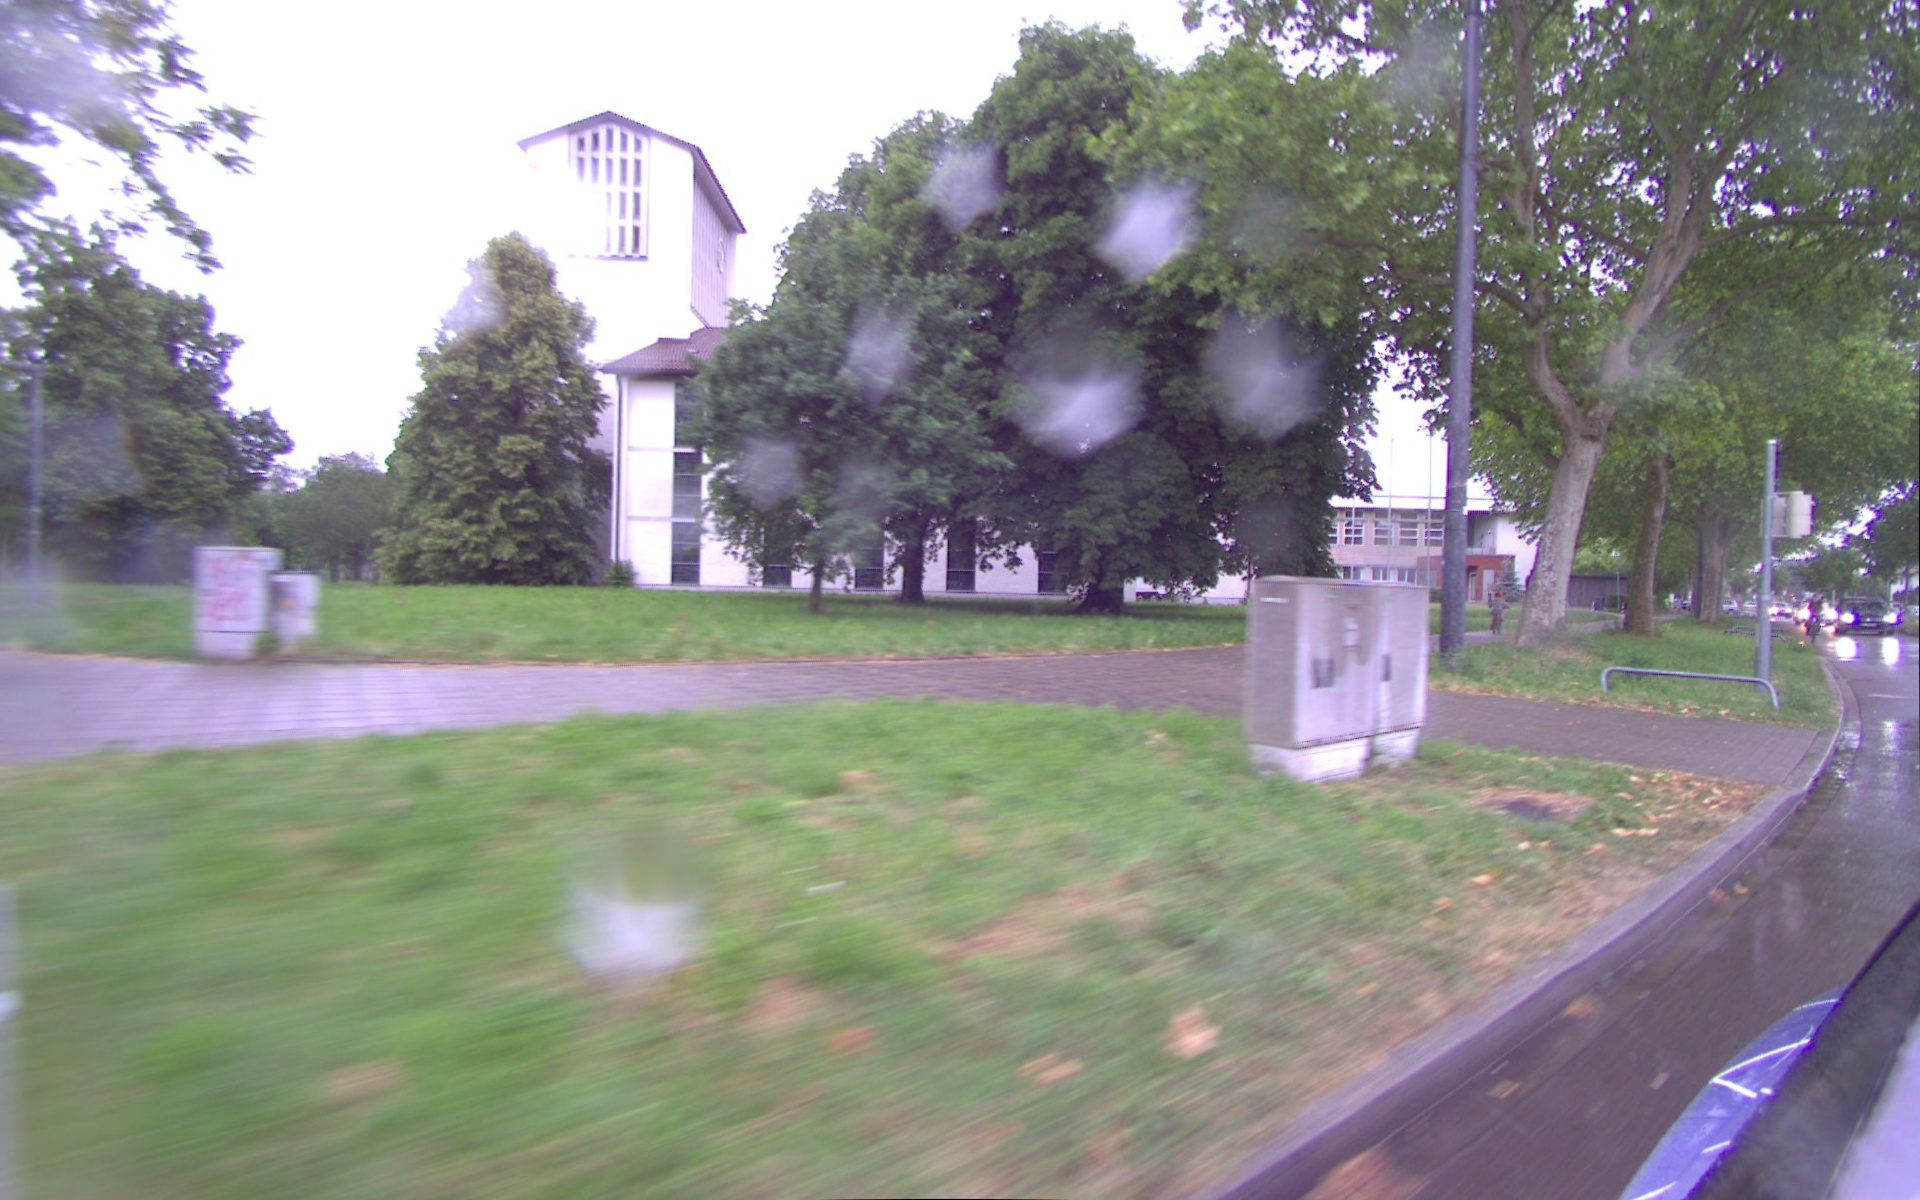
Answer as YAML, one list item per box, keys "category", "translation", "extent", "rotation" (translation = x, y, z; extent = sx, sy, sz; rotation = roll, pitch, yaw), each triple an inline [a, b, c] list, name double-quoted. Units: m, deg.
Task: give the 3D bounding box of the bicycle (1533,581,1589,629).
- category: "bicycle"
  translation: [15.311, 0.128, 25.761]
  extent: [1.939, 1.157, 0.712]
  rotation: [0, 2, -43]

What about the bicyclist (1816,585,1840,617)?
- category: "bicyclist"
  translation: [30.534, 0.037, 35.608]
  extent: [0.620, 1.098, 0.615]
  rotation: [2, 2, 42]

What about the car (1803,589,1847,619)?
- category: "car"
  translation: [52.438, 0.194, 61.376]
  extent: [1.758, 1.747, 3.882]
  rotation: [1, 1, 37]

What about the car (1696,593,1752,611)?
- category: "car"
  translation: [73.635, 0.197, 97.591]
  extent: [3.966, 1.505, 1.629]
  rotation: [2, 1, 19]

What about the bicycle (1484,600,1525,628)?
- category: "bicycle"
  translation: [14.536, 0.368, 27.012]
  extent: [1.432, 0.717, 0.487]
  rotation: [0, 2, -42]

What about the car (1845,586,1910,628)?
- category: "car"
  translation: [39.987, 0.332, 44.188]
  extent: [1.759, 1.747, 3.880]
  rotation: [-1, -1, 38]

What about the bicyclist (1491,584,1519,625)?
- category: "bicyclist"
  translation: [14.534, 0.113, 26.988]
  extent: [0.581, 1.051, 0.487]
  rotation: [0, 1, -42]

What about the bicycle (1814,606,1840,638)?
- category: "bicycle"
  translation: [30.547, 0.764, 35.654]
  extent: [0.657, 1.026, 2.223]
  rotation: [2, 2, 41]

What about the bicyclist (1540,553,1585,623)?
- category: "bicyclist"
  translation: [15.331, -0.320, 25.767]
  extent: [0.941, 1.742, 0.712]
  rotation: [1, 1, -43]

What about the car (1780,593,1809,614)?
- category: "car"
  translation: [76.824, 0.286, 93.172]
  extent: [1.758, 1.746, 3.884]
  rotation: [2, 2, 36]

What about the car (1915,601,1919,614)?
- category: "car"
  translation: [118.233, 0.928, 123.731]
  extent: [1.750, 1.536, 3.801]
  rotation: [-2, -1, 38]

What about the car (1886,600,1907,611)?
- category: "car"
  translation: [131.267, 0.760, 141.875]
  extent: [1.750, 1.536, 3.801]
  rotation: [-2, -1, 38]

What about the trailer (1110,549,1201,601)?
- category: "trailer"
  translation: [9.427, -1.198, 48.987]
  extent: [3.944, 2.337, 1.893]
  rotation: [2, 1, 0]

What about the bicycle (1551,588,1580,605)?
- category: "bicycle"
  translation: [44.440, -0.258, 74.258]
  extent: [1.898, 1.135, 0.522]
  rotation: [2, 2, -8]
